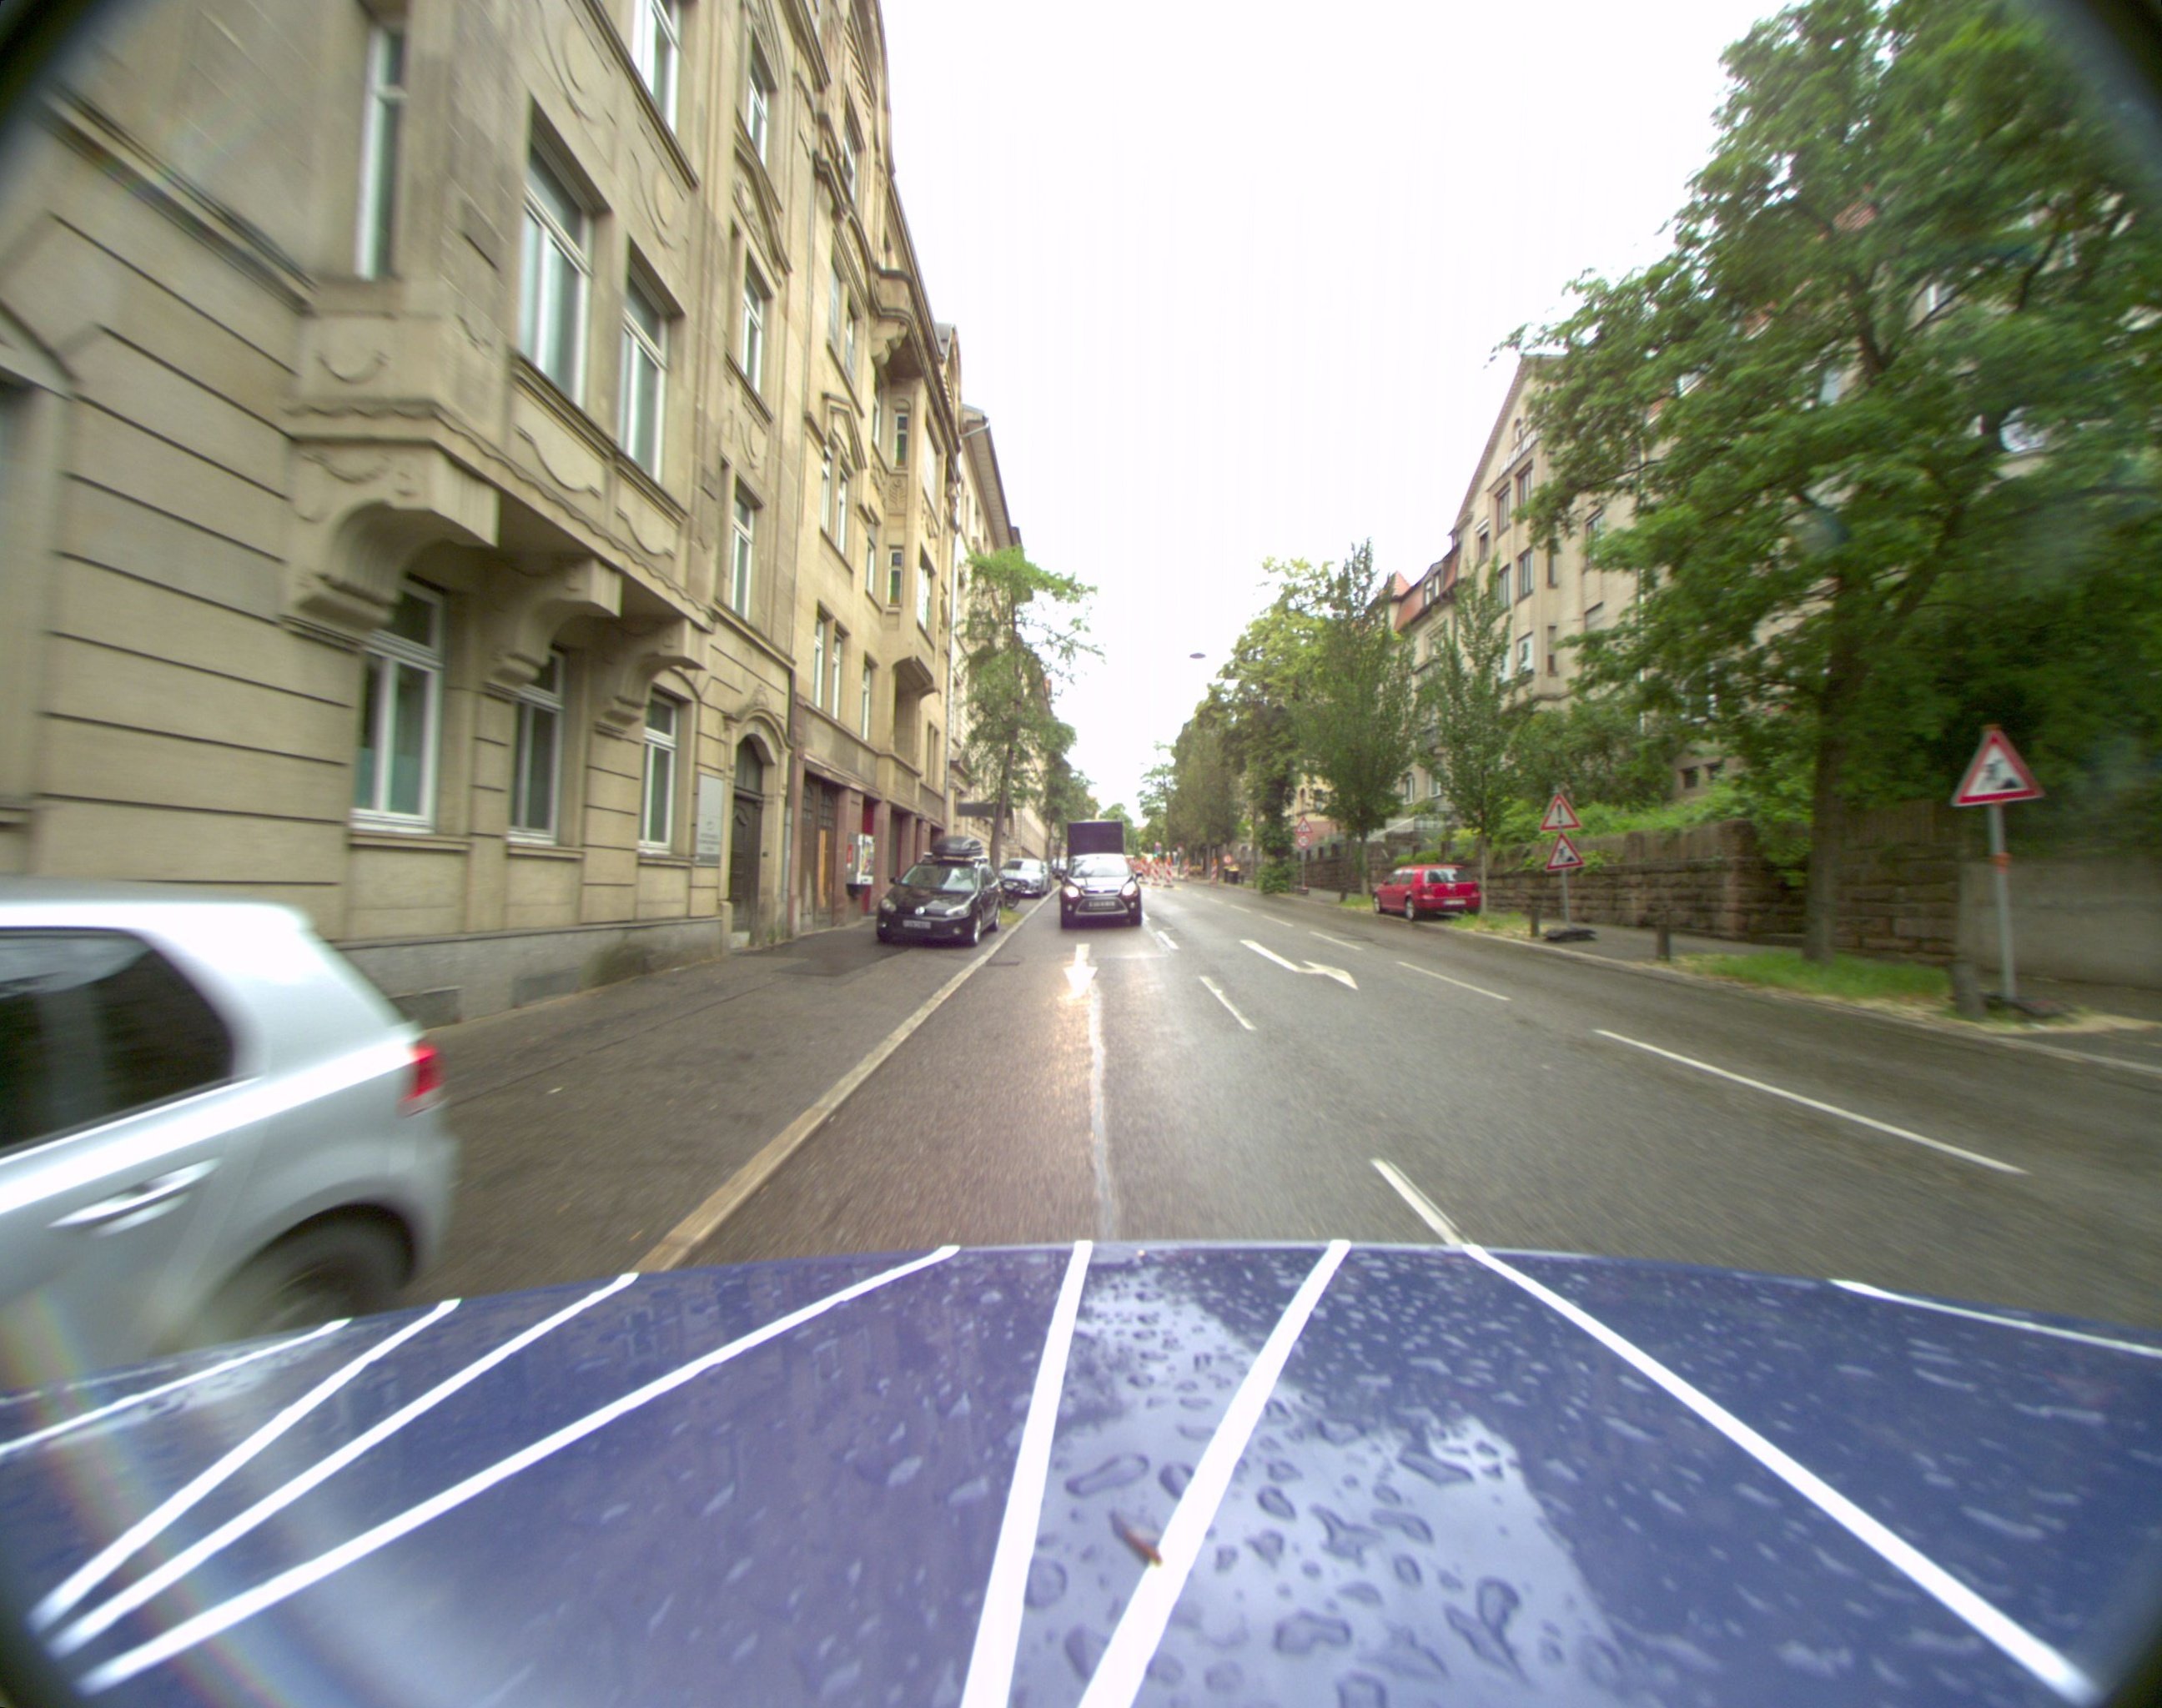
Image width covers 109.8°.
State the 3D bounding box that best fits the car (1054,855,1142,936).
[{"bbox_3d":[0.437,0.873,18.094,1.823,1.662,4.522,-1,0,2],"label":"car"}]

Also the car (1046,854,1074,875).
[{"bbox_3d":[-1.687,0.800,61.239,1.910,1.503,4.318,3,0,2],"label":"car"}]

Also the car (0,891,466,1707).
[{"bbox_3d":[-2.798,0.873,0.280,1.764,1.443,4.000,4,0,1],"label":"car"}]

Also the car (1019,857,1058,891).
[{"bbox_3d":[-1.949,0.892,35.422,1.495,1.440,3.181,1,0,2],"label":"car"}]

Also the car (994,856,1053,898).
[{"bbox_3d":[-2.172,0.853,29.795,1.794,1.444,4.039,3,0,2],"label":"car"}]

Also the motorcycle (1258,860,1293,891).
[{"bbox_3d":[9.392,0.992,36.877,0.802,1.406,3.061,-2,0,-2],"label":"motorcycle"}]

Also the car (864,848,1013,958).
[{"bbox_3d":[-2.468,0.784,14.206,1.764,1.642,4.099,4,0,2],"label":"car"}]

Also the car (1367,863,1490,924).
[{"bbox_3d":[9.350,0.994,20.809,1.617,1.442,4.064,-1,0,2],"label":"car"}]

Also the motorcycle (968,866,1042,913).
[{"bbox_3d":[-2.127,1.024,21.621,0.523,1.236,2.282,3,-1,41],"label":"motorcycle"}]

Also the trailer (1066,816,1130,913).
[{"bbox_3d":[0.513,0.284,24.200,1.783,2.744,4.816,-1,1,0],"label":"trailer"}]
